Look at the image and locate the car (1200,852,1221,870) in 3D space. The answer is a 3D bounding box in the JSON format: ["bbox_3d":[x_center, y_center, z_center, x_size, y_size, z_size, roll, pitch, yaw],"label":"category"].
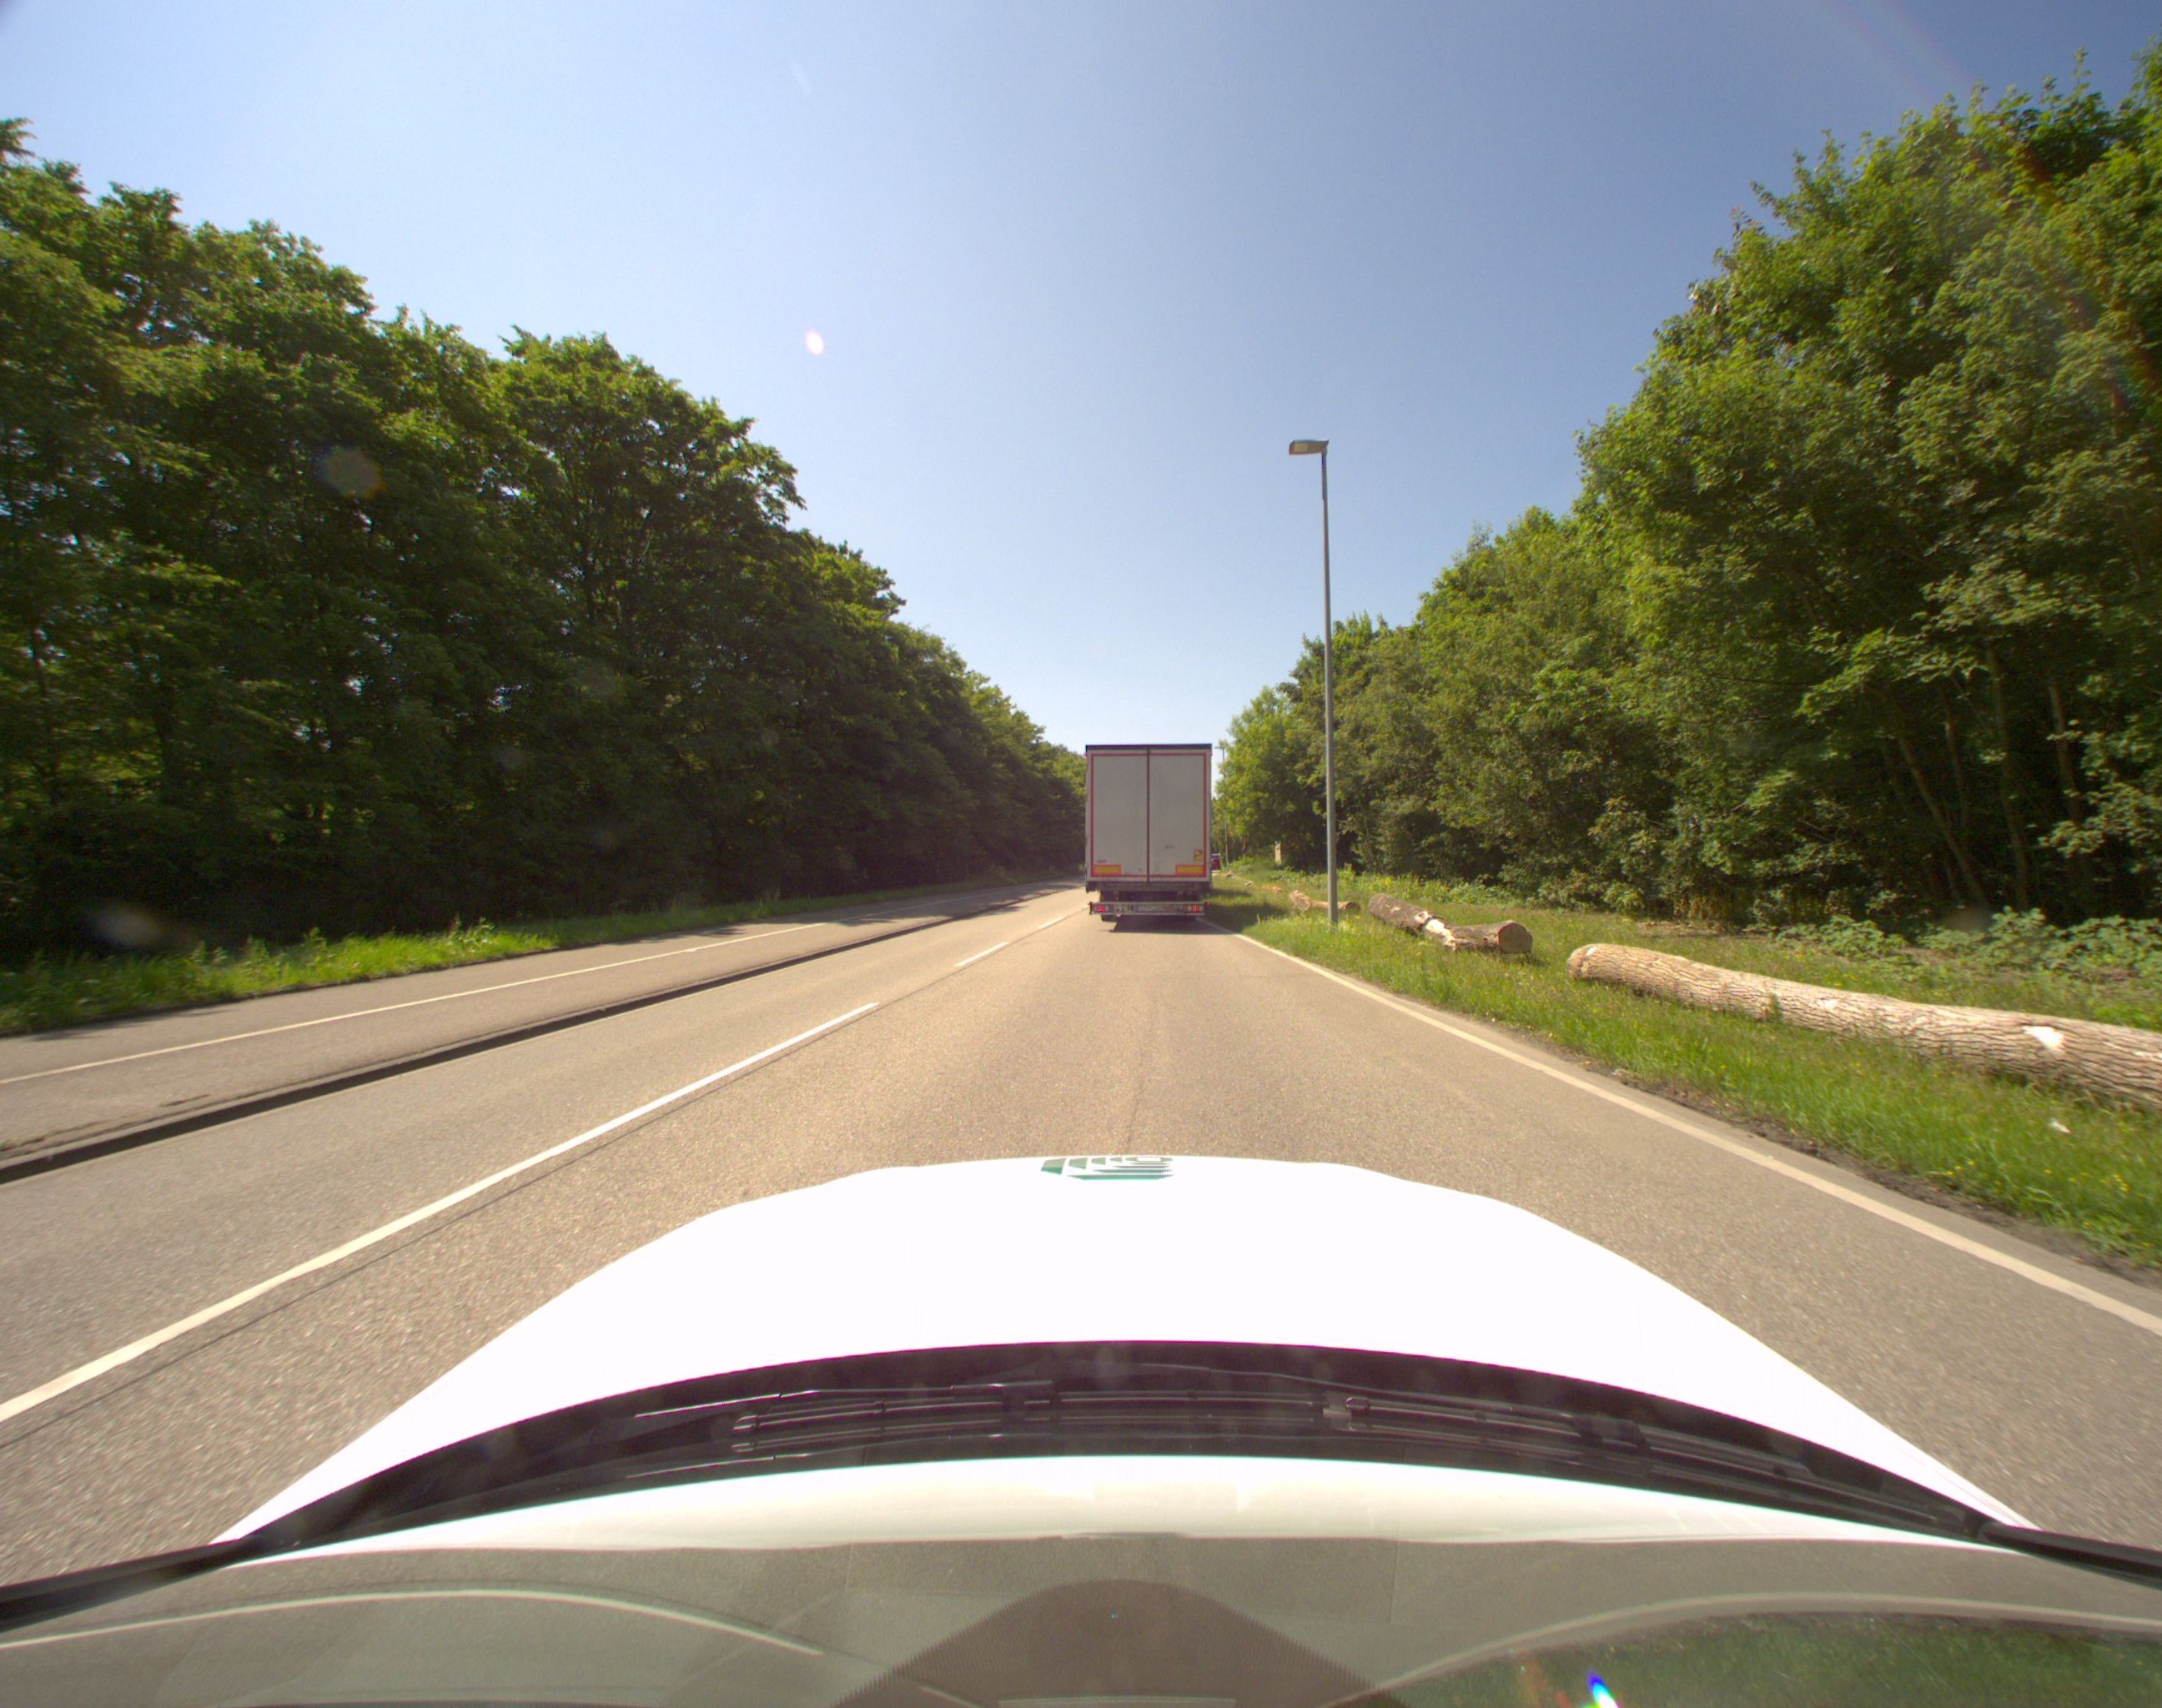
[{"bbox_3d":[11.755,0.625,74.089,1.701,1.530,3.858,-1,0,7],"label":"car"}]

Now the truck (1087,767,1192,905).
[{"bbox_3d":[1.877,-0.556,28.321,3.065,4.069,7.962,-1,0,2],"label":"truck"}]

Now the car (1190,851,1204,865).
[{"bbox_3d":[17.376,0.623,122.470,1.983,2.013,4.008,-2,0,7],"label":"car"}]

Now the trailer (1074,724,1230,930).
[{"bbox_3d":[1.612,-0.530,21.043,3.065,4.070,9.814,0,0,2],"label":"trailer"}]
